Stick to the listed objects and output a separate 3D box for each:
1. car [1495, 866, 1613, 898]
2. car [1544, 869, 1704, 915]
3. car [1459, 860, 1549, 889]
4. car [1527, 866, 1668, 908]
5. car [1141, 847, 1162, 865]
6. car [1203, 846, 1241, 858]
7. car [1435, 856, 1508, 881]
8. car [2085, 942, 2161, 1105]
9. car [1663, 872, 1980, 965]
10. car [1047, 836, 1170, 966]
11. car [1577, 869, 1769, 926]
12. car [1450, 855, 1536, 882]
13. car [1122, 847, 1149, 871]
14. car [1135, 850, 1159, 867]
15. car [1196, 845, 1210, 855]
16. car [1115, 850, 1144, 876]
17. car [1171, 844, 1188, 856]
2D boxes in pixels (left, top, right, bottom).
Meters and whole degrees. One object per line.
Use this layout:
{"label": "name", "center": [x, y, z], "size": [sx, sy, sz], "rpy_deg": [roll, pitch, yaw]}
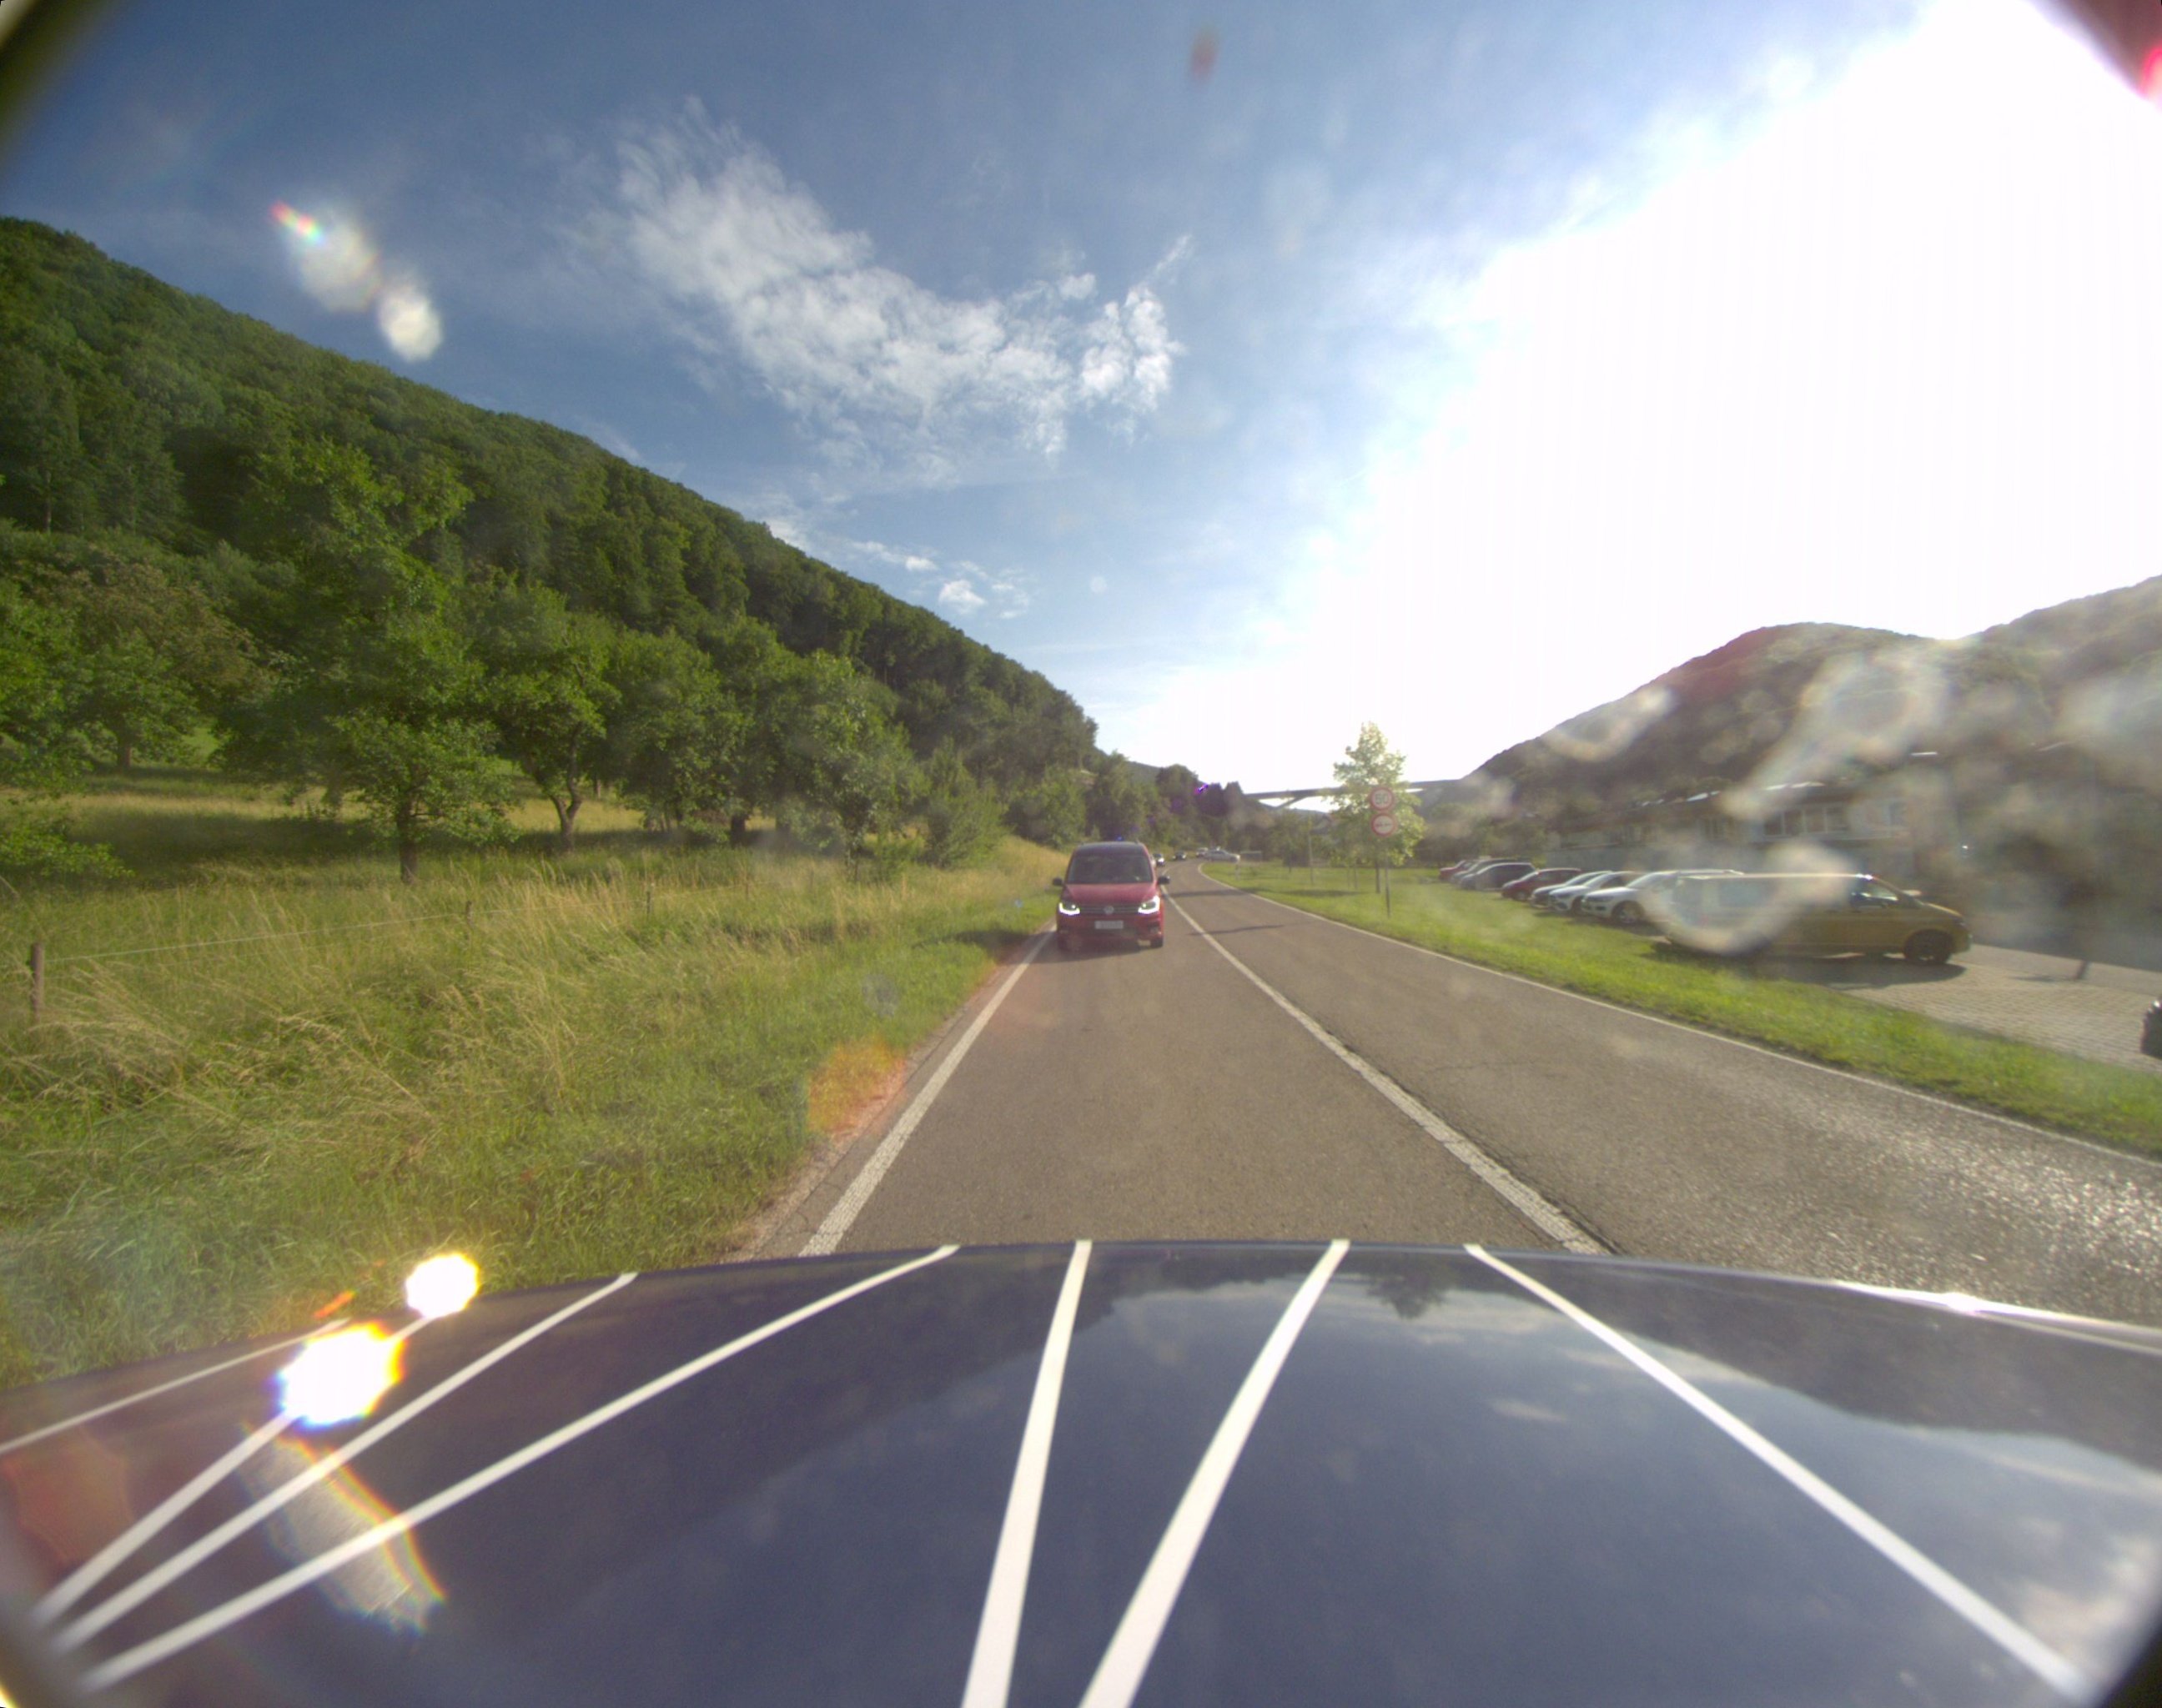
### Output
{"label": "car", "center": [22.435, 1.335, 36.269], "size": [4.437, 1.443, 2.003], "rpy_deg": [-1, 0, 20]}
{"label": "car", "center": [19.984, 1.393, 28.223], "size": [4.437, 1.577, 2.003], "rpy_deg": [-1, 0, 19]}
{"label": "car", "center": [25.475, 1.220, 45.936], "size": [4.438, 1.573, 2.003], "rpy_deg": [-2, 0, 18]}
{"label": "car", "center": [21.173, 1.347, 31.385], "size": [4.437, 1.573, 2.003], "rpy_deg": [-1, 0, 18]}
{"label": "car", "center": [7.594, 0.256, 81.859], "size": [1.997, 1.838, 4.003], "rpy_deg": [-1, 0, 8]}
{"label": "car", "center": [18.744, -0.293, 101.061], "size": [4.764, 1.518, 2.002], "rpy_deg": [-1, 0, 15]}
{"label": "car", "center": [28.500, 1.063, 55.591], "size": [4.437, 1.709, 2.003], "rpy_deg": [-1, 0, 18]}
{"label": "car", "center": [13.387, 1.734, 7.253], "size": [4.289, 1.628, 1.915], "rpy_deg": [-3, 0, 14]}
{"label": "car", "center": [16.178, 1.357, 16.972], "size": [4.653, 1.802, 2.003], "rpy_deg": [-1, 0, 19]}
{"label": "car", "center": [0.478, 0.711, 13.310], "size": [1.746, 1.849, 4.349], "rpy_deg": [-2, 0, 2]}
{"label": "car", "center": [19.131, 1.388, 24.819], "size": [4.545, 1.691, 2.003], "rpy_deg": [-1, 0, 19]}
{"label": "car", "center": [27.244, 0.963, 50.409], "size": [4.665, 1.752, 2.003], "rpy_deg": [-1, 0, 18]}
{"label": "car", "center": [4.325, 0.382, 59.737], "size": [1.900, 1.717, 4.002], "rpy_deg": [-2, 0, 6]}
{"label": "car", "center": [6.045, 0.410, 68.871], "size": [1.797, 1.464, 4.287], "rpy_deg": [-2, 0, 9]}
{"label": "car", "center": [22.090, -0.695, 137.704], "size": [1.796, 1.725, 4.289], "rpy_deg": [-2, 0, 18]}
{"label": "car", "center": [3.159, 0.578, 48.468], "size": [1.692, 1.539, 4.002], "rpy_deg": [-2, 0, 5]}
{"label": "car", "center": [14.818, -0.627, 114.007], "size": [1.910, 1.675, 4.005], "rpy_deg": [-1, 0, 15]}
